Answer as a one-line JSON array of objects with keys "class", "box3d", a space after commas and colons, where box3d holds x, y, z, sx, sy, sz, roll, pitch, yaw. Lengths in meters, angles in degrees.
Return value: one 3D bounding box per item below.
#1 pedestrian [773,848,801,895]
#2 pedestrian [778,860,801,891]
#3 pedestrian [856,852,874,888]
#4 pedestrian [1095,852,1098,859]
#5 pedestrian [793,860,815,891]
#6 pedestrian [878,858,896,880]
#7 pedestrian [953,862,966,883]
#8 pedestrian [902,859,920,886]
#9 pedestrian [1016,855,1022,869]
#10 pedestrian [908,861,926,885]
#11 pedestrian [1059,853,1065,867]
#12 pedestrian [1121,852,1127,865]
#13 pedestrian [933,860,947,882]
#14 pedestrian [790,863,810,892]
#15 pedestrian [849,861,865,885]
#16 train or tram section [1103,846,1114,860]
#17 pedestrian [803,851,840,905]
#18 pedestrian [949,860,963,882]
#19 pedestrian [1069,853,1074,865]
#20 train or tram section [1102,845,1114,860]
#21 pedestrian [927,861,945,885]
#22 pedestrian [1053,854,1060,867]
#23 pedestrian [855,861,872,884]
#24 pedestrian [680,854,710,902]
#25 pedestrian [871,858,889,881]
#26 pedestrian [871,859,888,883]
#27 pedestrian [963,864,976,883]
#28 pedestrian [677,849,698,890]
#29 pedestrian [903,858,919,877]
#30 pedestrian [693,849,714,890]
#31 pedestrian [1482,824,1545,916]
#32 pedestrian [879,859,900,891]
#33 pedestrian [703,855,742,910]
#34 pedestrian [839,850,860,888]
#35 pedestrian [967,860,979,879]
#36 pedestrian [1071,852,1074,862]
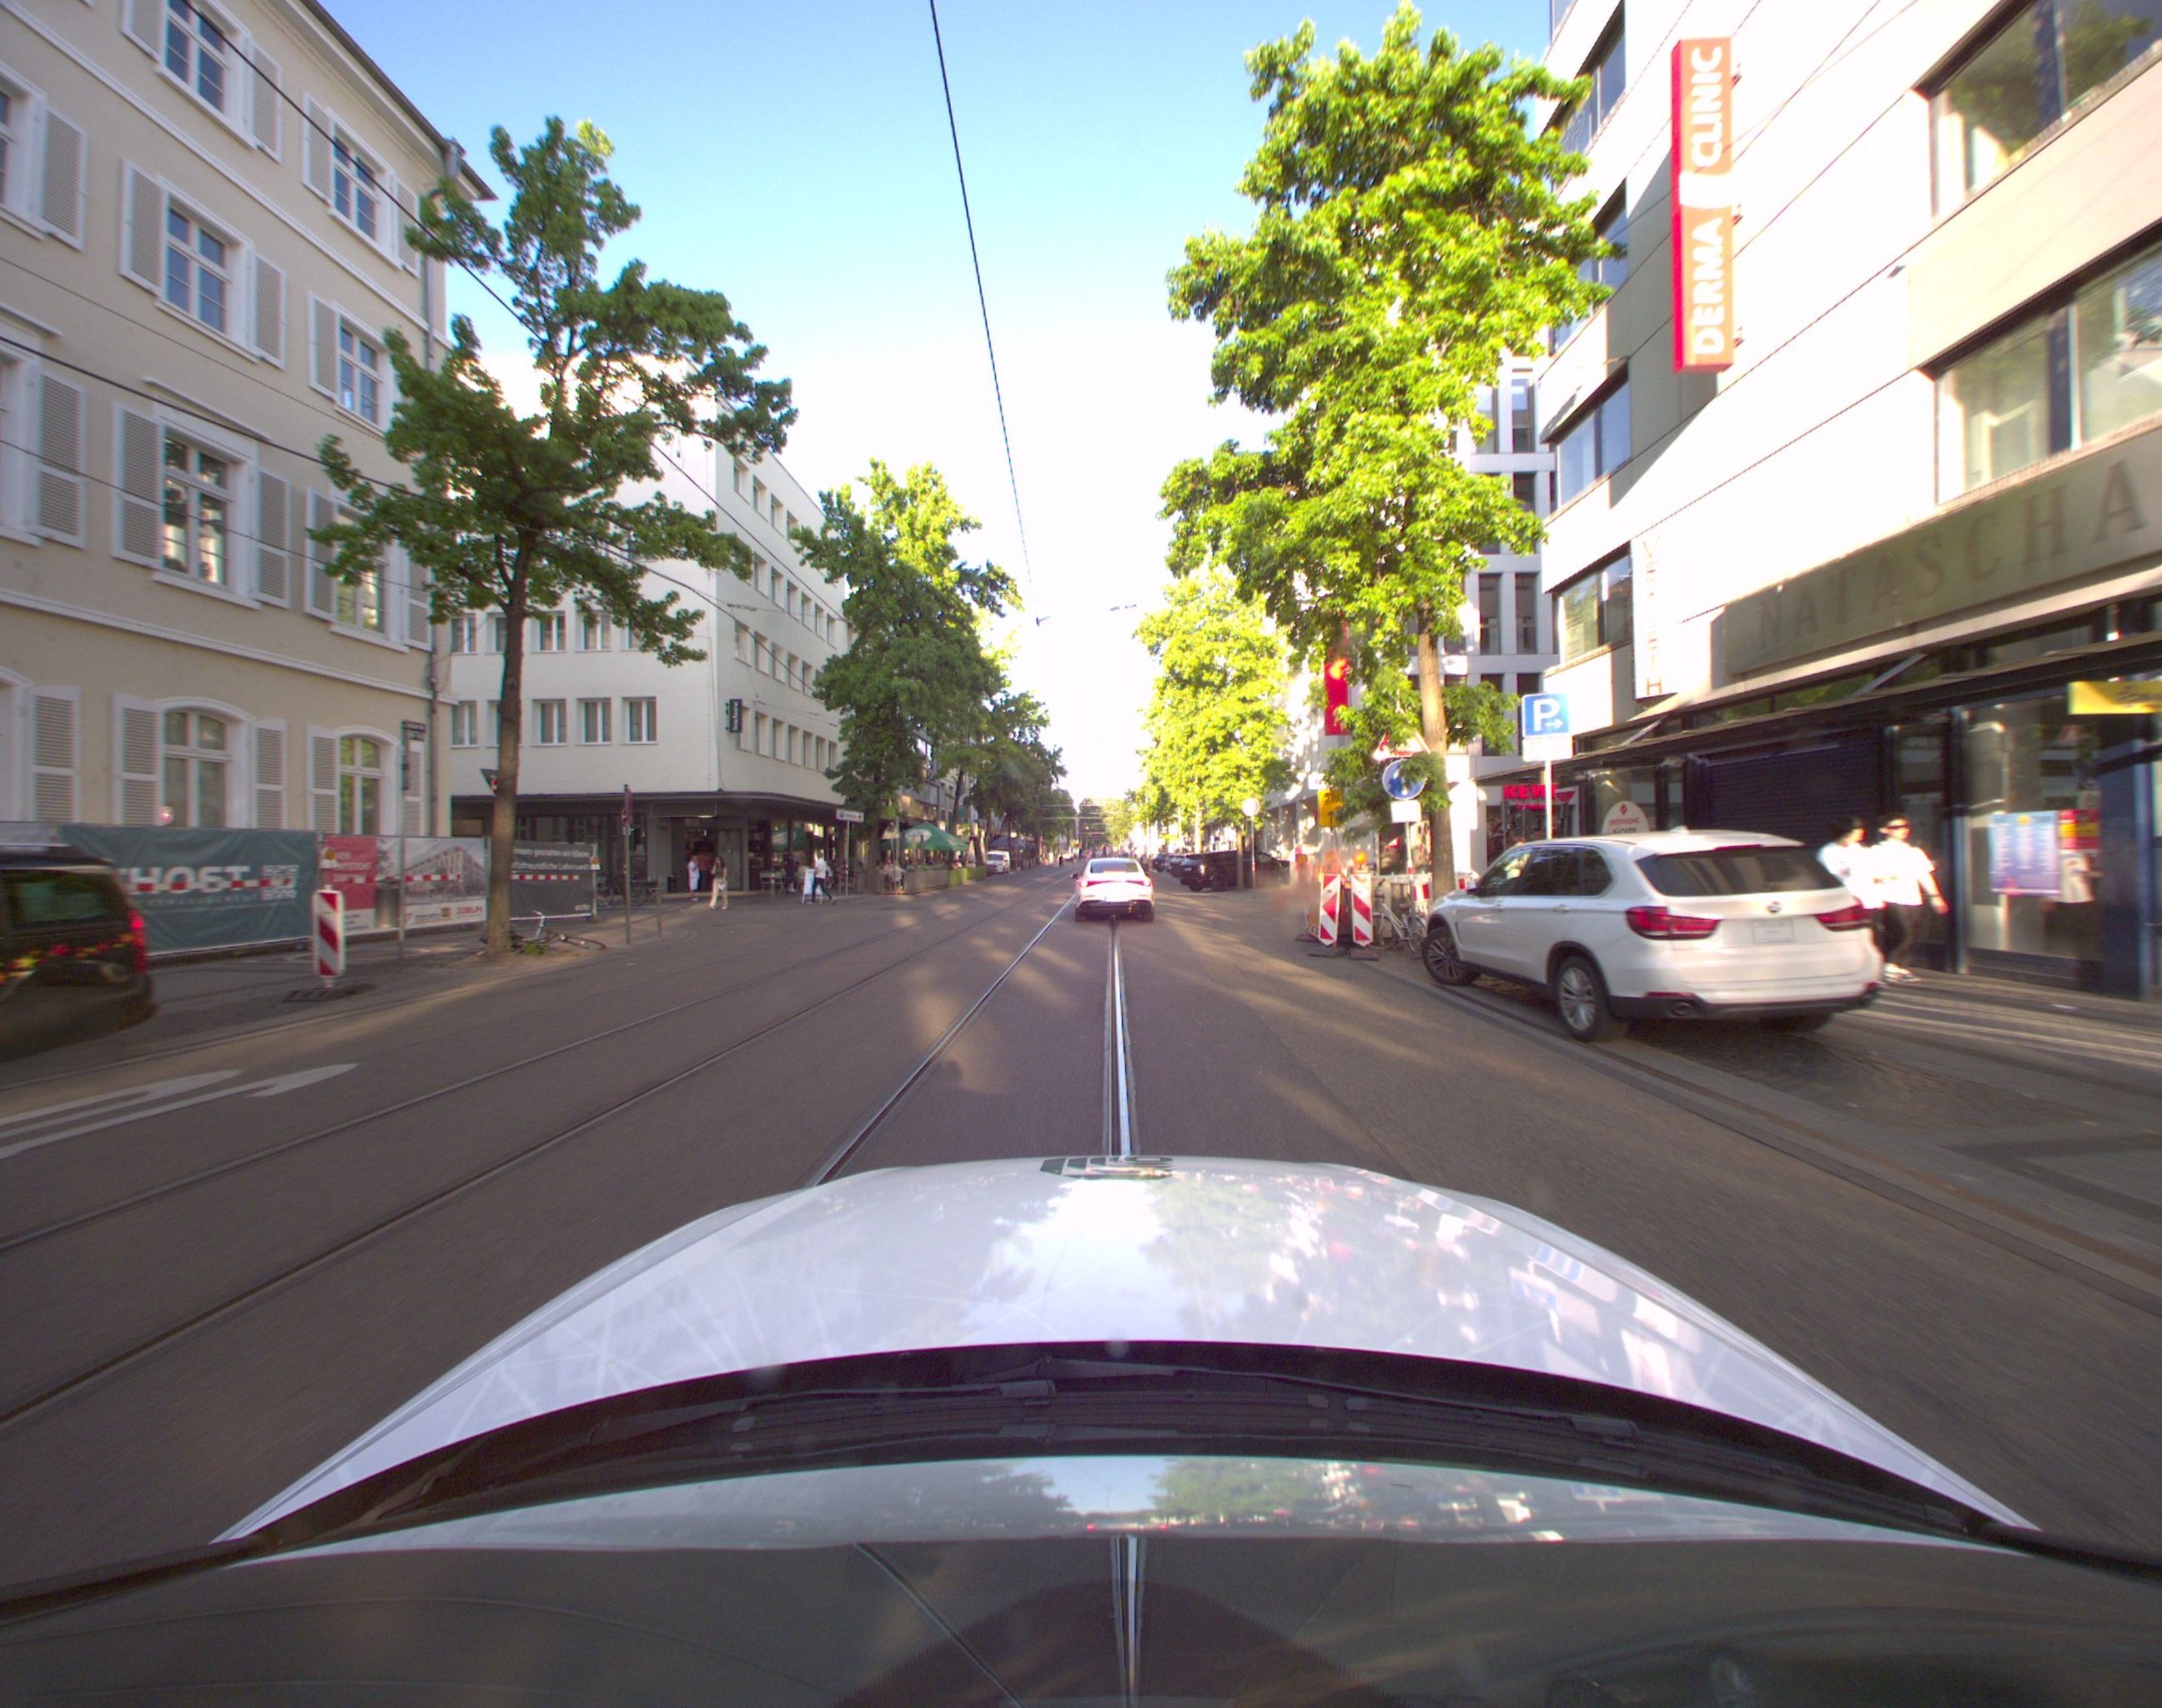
[{"class": "pedestrian", "box3d": [-11.580, 0.677, 32.140, 0.679, 1.815, 0.767, 1, 0, 17]}, {"class": "pedestrian", "box3d": [-12.234, 0.893, 34.162, 0.642, 1.269, 0.739, 1, 0, 2]}, {"class": "pedestrian", "box3d": [-10.043, 0.734, 37.891, 0.616, 1.670, 0.697, 1, 0, 1]}, {"class": "pedestrian", "box3d": [4.036, 0.340, 209.556, 0.797, 1.782, 0.849, 1, 0, 1]}, {"class": "pedestrian", "box3d": [-11.578, 0.903, 34.068, 0.624, 1.282, 0.728, 1, 0, 2]}, {"class": "pedestrian", "box3d": [-11.393, 0.859, 47.860, 0.774, 1.237, 0.945, 2, 0, 1]}, {"class": "pedestrian", "box3d": [-7.937, 1.205, 53.047, 0.654, 1.293, 0.798, 2, 0, 1]}, {"class": "pedestrian", "box3d": [-8.529, 0.913, 40.930, 0.686, 1.312, 0.807, 1, 0, 3]}, {"class": "pedestrian", "box3d": [-6.075, 0.797, 80.264, 0.547, 1.356, 0.583, 0, 0, 1]}, {"class": "pedestrian", "box3d": [-8.696, 0.993, 43.176, 0.705, 1.259, 0.870, 1, 0, 4]}, {"class": "pedestrian", "box3d": [-2.169, 0.680, 93.675, 0.620, 1.550, 0.853, 2, 0, 2]}, {"class": "pedestrian", "box3d": [6.023, 0.595, 113.071, 0.838, 1.801, 0.791, 1, 0, 3]}, {"class": "pedestrian", "box3d": [-8.119, 0.994, 47.026, 0.616, 1.245, 0.697, 2, 0, 1]}, {"class": "pedestrian", "box3d": [-12.016, 0.993, 34.860, 0.550, 1.235, 0.687, 1, 0, 2]}, {"class": "pedestrian", "box3d": [-11.324, 0.956, 41.218, 0.550, 1.161, 0.687, 1, 0, 2]}, {"class": "train or tram section", "box3d": [7.382, -0.319, 216.180, 2.684, 3.516, 11.149, -1, 0, 2]}, {"class": "pedestrian", "box3d": [-8.642, 0.780, 27.184, 0.789, 1.740, 0.870, 0, 1, 17]}, {"class": "pedestrian", "box3d": [-7.225, 0.996, 47.128, 0.616, 1.245, 0.697, 2, 0, 1]}, {"class": "pedestrian", "box3d": [-1.481, 0.785, 130.390, 0.784, 1.801, 0.845, -1, 0, 3]}, {"class": "train or tram section", "box3d": [6.419, -0.306, 191.791, 2.684, 3.516, 12.551, -1, 0, 2]}, {"class": "pedestrian", "box3d": [-7.666, 0.988, 43.057, 0.705, 1.259, 0.773, 1, 0, 4]}, {"class": "pedestrian", "box3d": [-2.794, 0.722, 92.675, 0.620, 1.509, 0.834, 2, 0, 2]}, {"class": "pedestrian", "box3d": [-11.267, 0.964, 42.202, 0.599, 1.174, 0.687, 1, 0, 2]}, {"class": "pedestrian", "box3d": [-13.466, 0.830, 28.443, 0.797, 1.614, 0.862, 0, 2, -15]}, {"class": "pedestrian", "box3d": [-11.521, 0.888, 46.653, 0.734, 1.232, 0.788, 2, 0, 1]}, {"class": "pedestrian", "box3d": [-10.939, 0.917, 44.198, 0.667, 1.242, 0.799, 1, 0, 1]}, {"class": "pedestrian", "box3d": [-7.275, 1.261, 53.192, 0.654, 1.244, 0.873, 2, 0, 1]}, {"class": "pedestrian", "box3d": [-15.687, 0.609, 32.468, 0.399, 1.604, 0.625, -1, 0, 35]}, {"class": "pedestrian", "box3d": [-11.201, 0.898, 53.808, 0.750, 1.188, 1.065, 2, 0, 1]}, {"class": "pedestrian", "box3d": [-14.754, 0.597, 31.848, 0.399, 1.604, 0.625, -1, 0, 35]}, {"class": "pedestrian", "box3d": [9.201, 0.331, 17.363, 0.830, 1.897, 0.919, -2, 0, 4]}, {"class": "pedestrian", "box3d": [-8.305, 0.903, 35.319, 0.686, 1.386, 0.807, 1, 0, 3]}, {"class": "pedestrian", "box3d": [-11.194, 0.888, 25.434, 0.704, 1.656, 0.968, -1, 0, 3]}, {"class": "pedestrian", "box3d": [-10.690, 0.683, 37.590, 0.675, 1.757, 0.697, 1, 0, 3]}, {"class": "pedestrian", "box3d": [-7.174, 1.006, 54.089, 0.654, 1.193, 0.798, 2, 0, 1]}, {"class": "pedestrian", "box3d": [-1.680, 0.517, 156.522, 0.536, 1.929, 0.574, -1, 0, 5]}]
